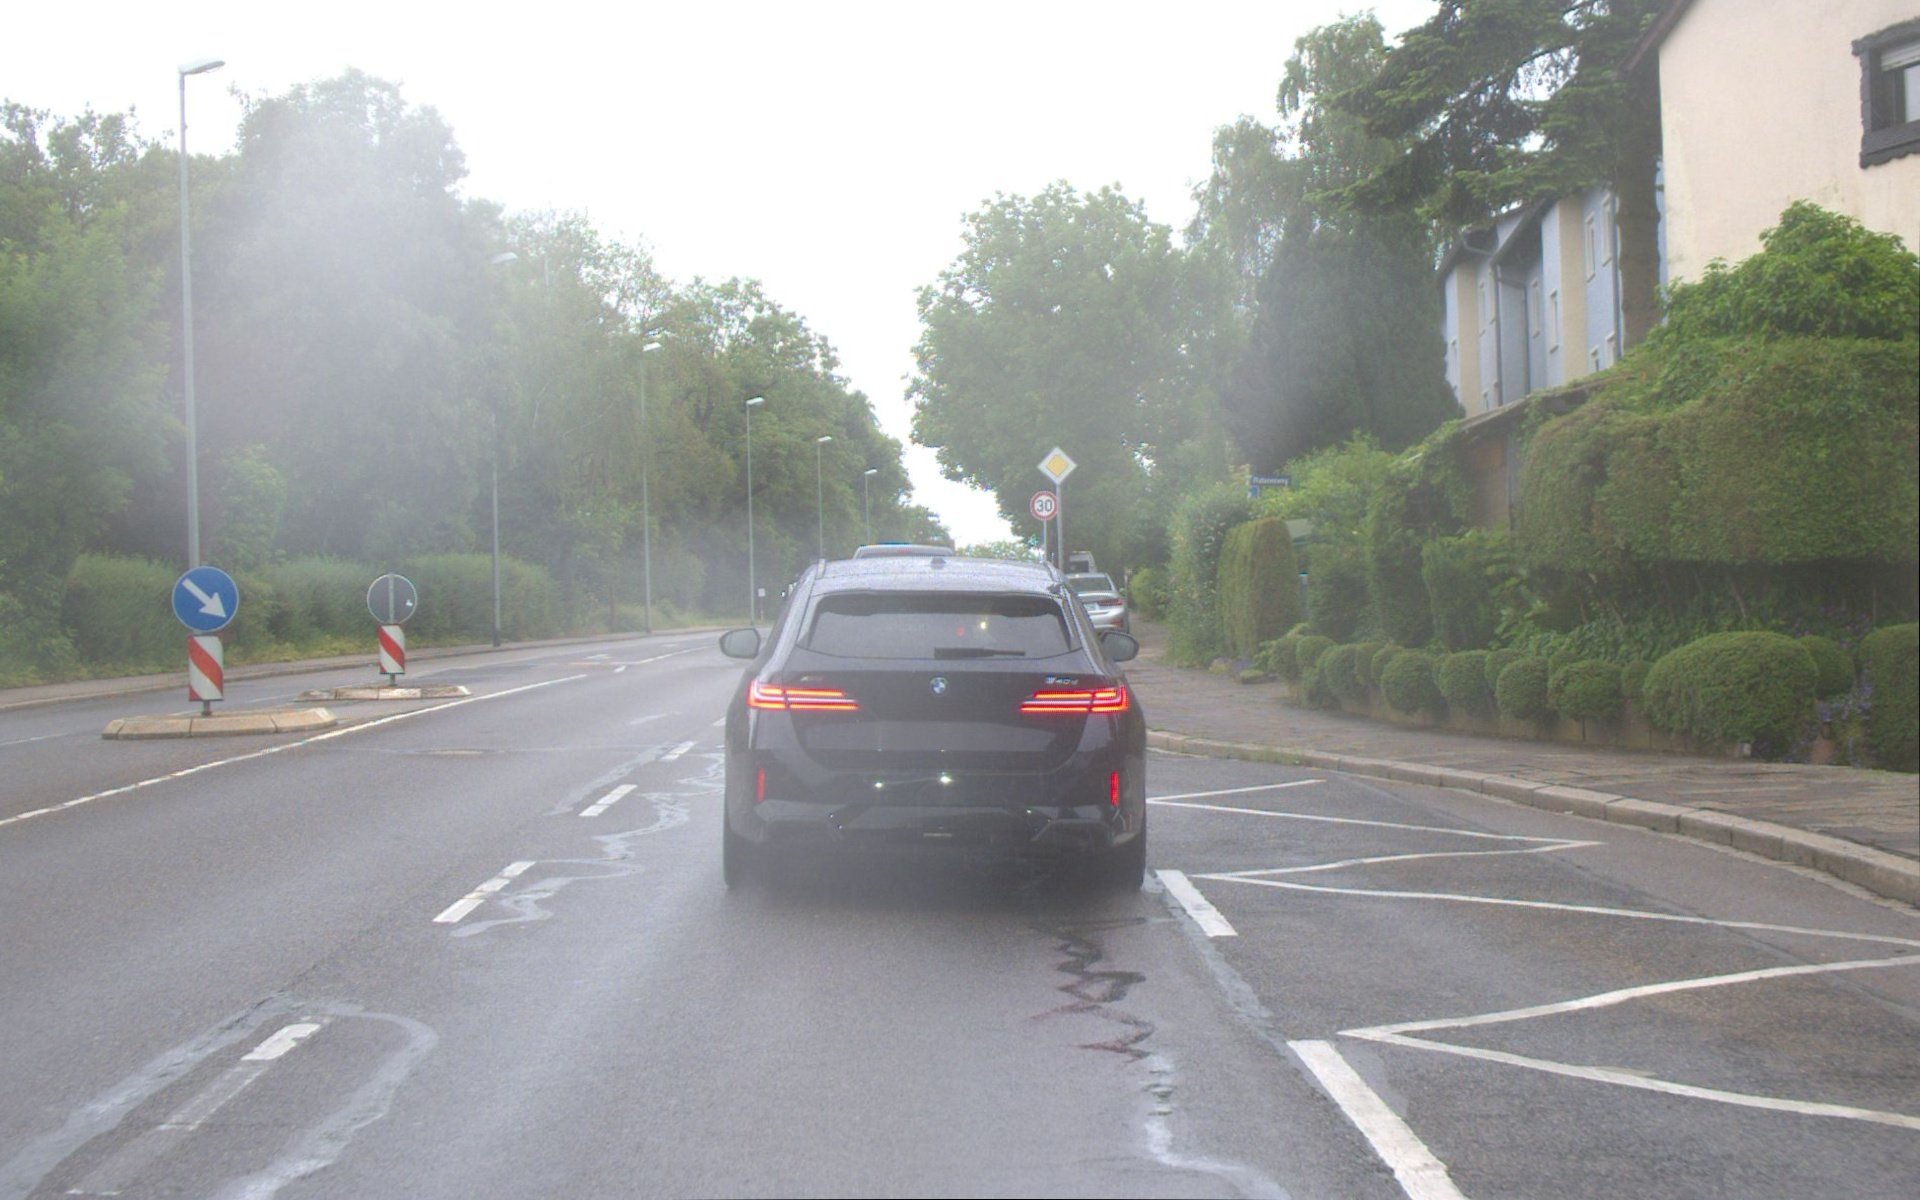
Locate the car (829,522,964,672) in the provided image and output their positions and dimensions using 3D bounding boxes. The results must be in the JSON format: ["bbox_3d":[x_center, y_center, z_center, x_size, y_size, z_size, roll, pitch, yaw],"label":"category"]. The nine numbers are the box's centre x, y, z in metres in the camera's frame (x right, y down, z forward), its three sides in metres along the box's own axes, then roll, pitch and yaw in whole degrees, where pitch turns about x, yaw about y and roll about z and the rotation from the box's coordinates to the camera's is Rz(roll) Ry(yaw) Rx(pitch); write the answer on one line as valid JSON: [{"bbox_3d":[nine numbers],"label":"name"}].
[{"bbox_3d":[-0.812,-0.069,44.798,1.629,1.827,4.000,-2,1,-1],"label":"car"}]

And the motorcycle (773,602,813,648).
[{"bbox_3d":[-4.149,0.615,85.536,0.876,1.120,2.741,-1,0,-1],"label":"motorcycle"}]

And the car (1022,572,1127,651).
[{"bbox_3d":[2.204,0.198,66.478,1.935,1.437,4.408,-1,0,2],"label":"car"}]

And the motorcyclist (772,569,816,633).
[{"bbox_3d":[-4.138,0.029,85.576,1.039,1.562,0.855,1,0,-1],"label":"motorcyclist"}]

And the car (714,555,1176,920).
[{"bbox_3d":[-0.053,0.555,16.324,1.897,1.484,4.000,1,1,0],"label":"car"}]
